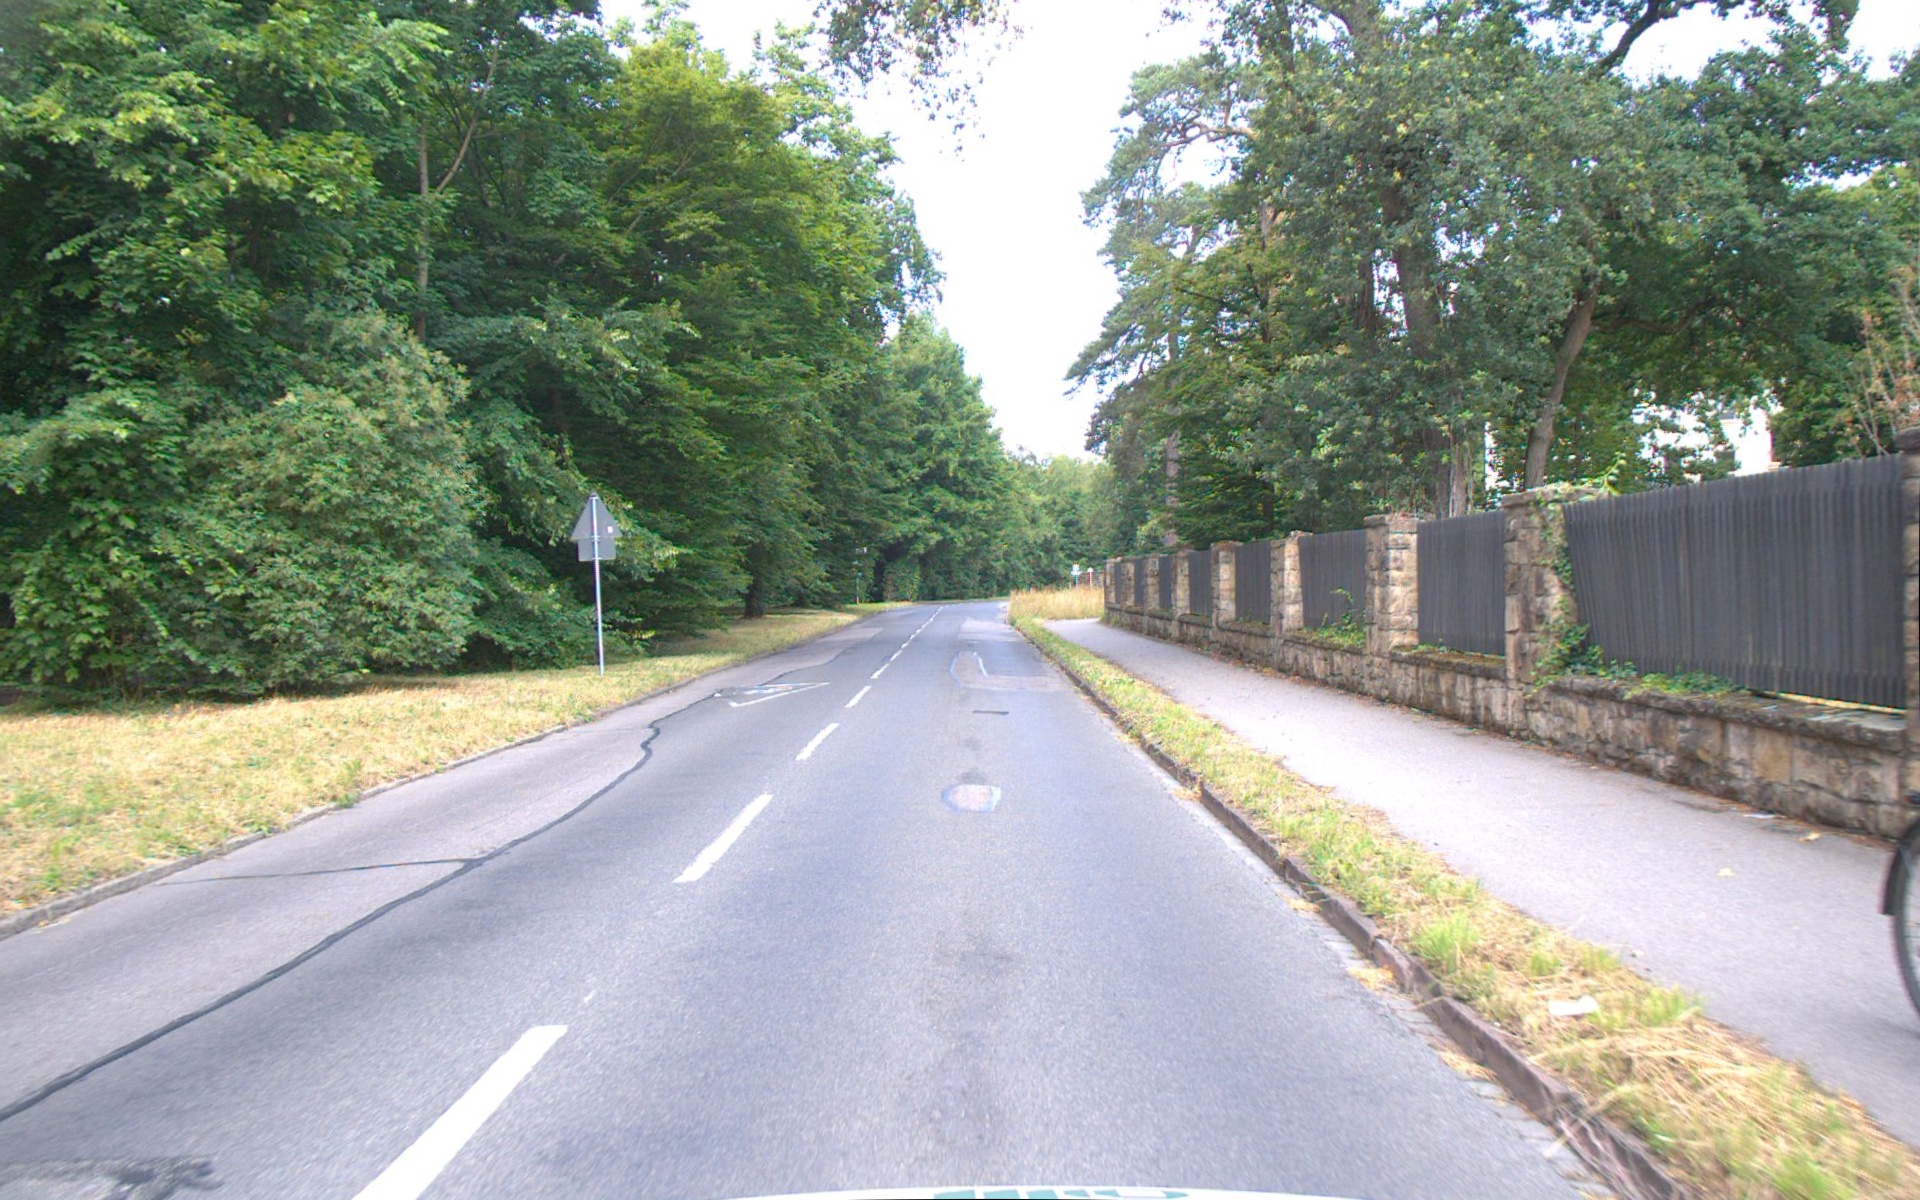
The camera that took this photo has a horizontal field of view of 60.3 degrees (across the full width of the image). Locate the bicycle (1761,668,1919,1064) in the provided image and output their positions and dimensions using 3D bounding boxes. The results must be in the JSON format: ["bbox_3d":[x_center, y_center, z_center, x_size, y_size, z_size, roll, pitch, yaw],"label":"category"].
[{"bbox_3d":[3.069,0.808,4.658,0.547,1.091,2.157,-2,1,0],"label":"bicycle"}]

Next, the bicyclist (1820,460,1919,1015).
[{"bbox_3d":[3.055,0.396,4.683,0.558,1.615,1.205,-2,1,0],"label":"bicyclist"}]
